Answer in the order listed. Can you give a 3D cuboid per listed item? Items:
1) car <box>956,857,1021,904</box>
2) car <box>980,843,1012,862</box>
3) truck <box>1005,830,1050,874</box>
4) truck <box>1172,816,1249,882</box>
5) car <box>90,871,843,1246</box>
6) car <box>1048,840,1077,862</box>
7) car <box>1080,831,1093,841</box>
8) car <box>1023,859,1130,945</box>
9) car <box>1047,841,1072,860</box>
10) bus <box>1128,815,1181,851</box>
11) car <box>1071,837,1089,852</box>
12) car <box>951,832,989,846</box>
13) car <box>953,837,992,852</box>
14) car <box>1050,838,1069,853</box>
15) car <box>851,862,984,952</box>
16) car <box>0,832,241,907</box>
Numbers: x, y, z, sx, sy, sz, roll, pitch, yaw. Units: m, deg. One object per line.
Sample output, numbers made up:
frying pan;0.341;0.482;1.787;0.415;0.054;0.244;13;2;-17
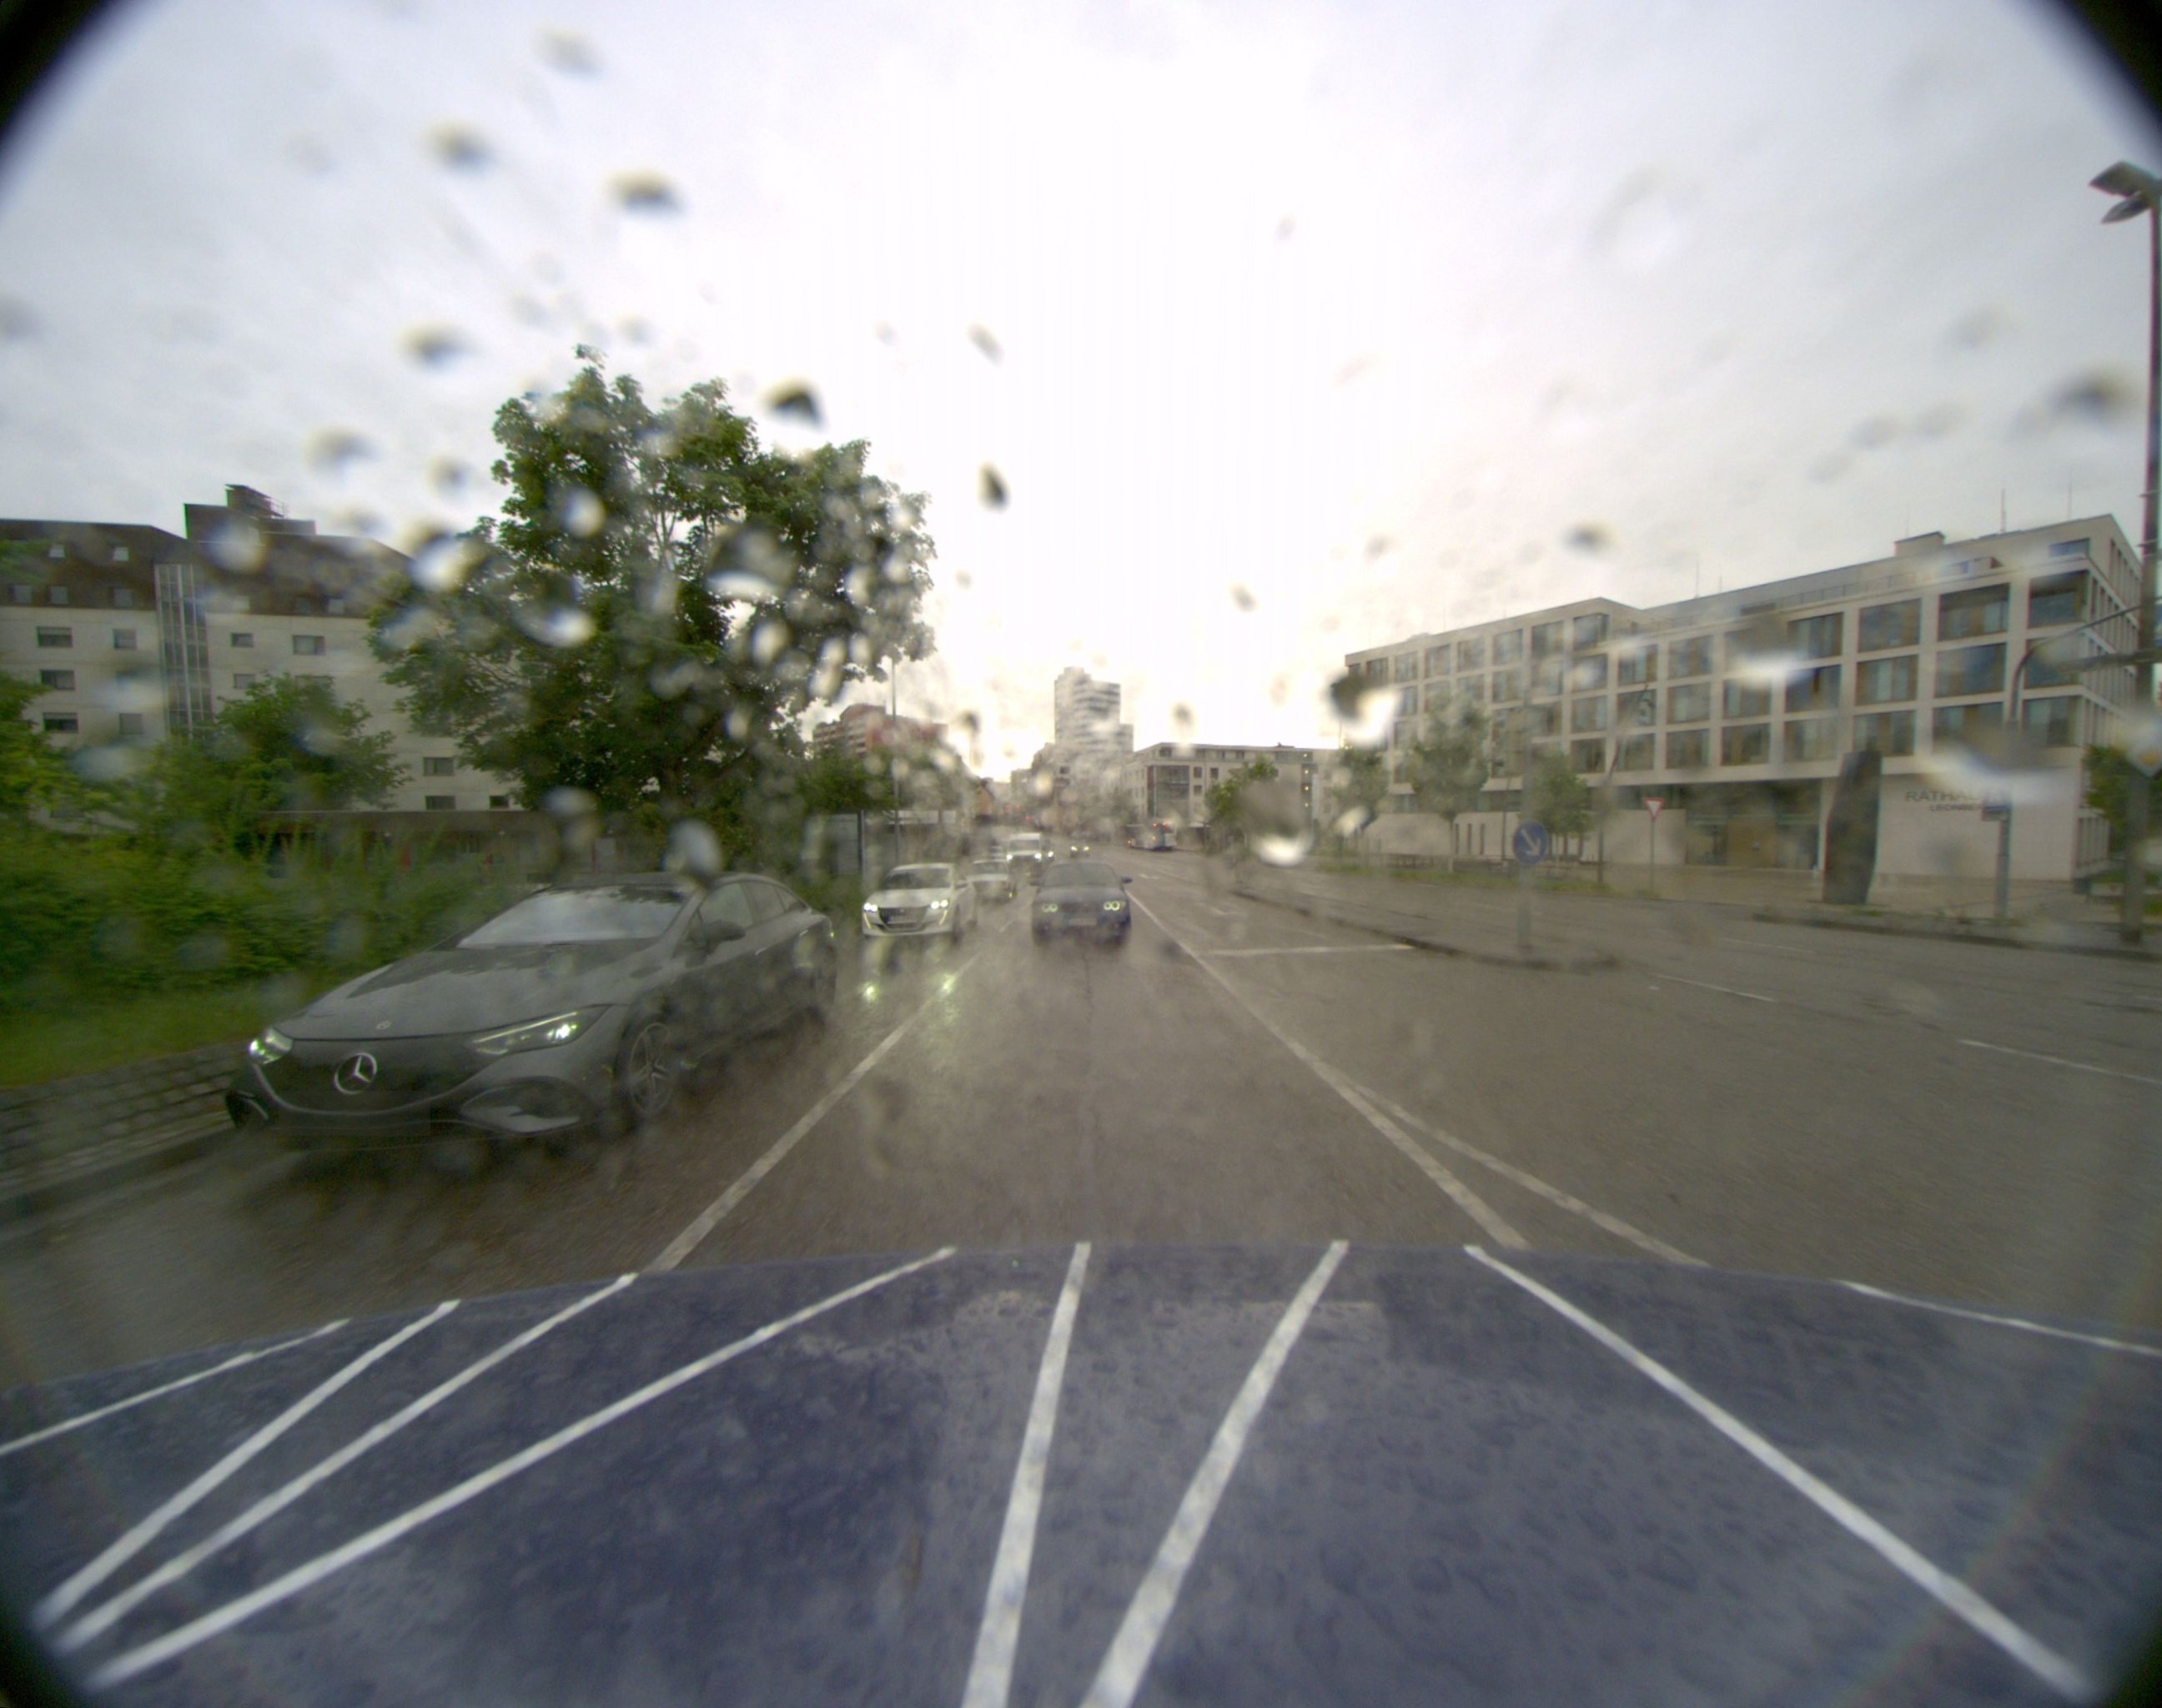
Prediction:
car;-3.153;0.875;26.670;1.718;1.369;3.734;-3;1;1
car;-6.638;-0.151;59.506;1.998;1.344;3.803;1;1;1
truck;-3.118;-0.186;45.586;2.169;2.425;6.198;-2;1;1
truck;5.229;-0.238;31.678;2.169;2.425;6.198;-2;1;1
car;-3.478;0.982;5.703;1.836;1.436;4.550;-3;1;1
car;-1.408;-0.217;56.518;1.999;1.543;3.999;-2;0;-2
car;0.823;-2.793;116.853;1.818;1.421;3.941;-3;3;2
car;-0.056;0.841;14.934;1.787;1.335;3.704;-2;1;1
car;-1.832;-0.277;63.634;1.999;1.543;3.999;-2;0;-2
bus;8.533;-2.479;91.612;2.952;3.972;18.215;0;1;-5
car;-0.073;-0.912;74.803;1.718;1.369;3.734;-3;1;1
car;-12.232;-1.647;83.804;4.000;1.412;1.701;-3;2;-9
car;-11.599;-0.992;81.432;4.000;1.412;1.998;-3;2;-9
car;-2.341;-0.917;83.451;1.999;1.543;3.999;-2;0;-2
car;-3.136;0.951;15.434;1.718;1.389;4.035;-3;1;1
car;-33.351;0.425;26.331;2.800;2.259;6.754;0;1;-19
